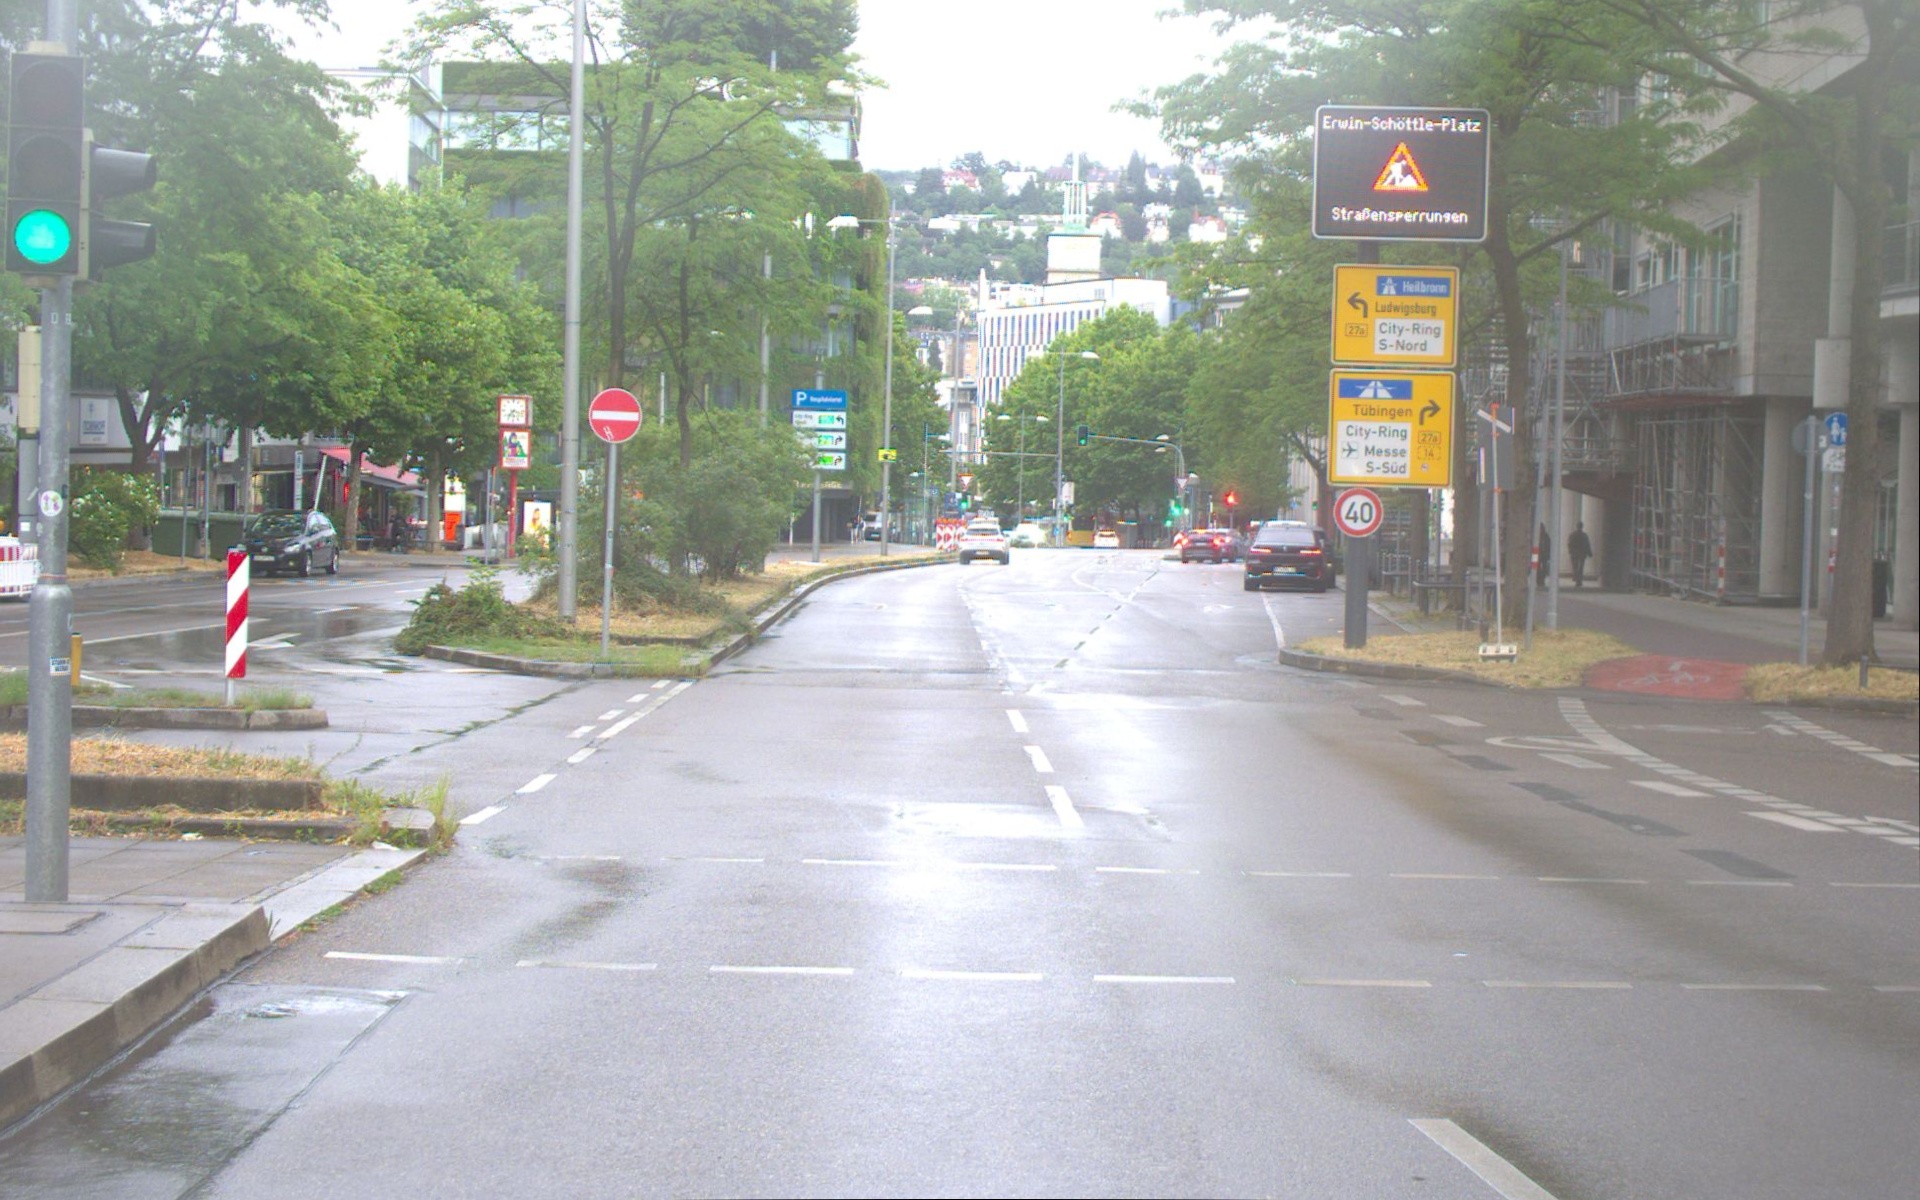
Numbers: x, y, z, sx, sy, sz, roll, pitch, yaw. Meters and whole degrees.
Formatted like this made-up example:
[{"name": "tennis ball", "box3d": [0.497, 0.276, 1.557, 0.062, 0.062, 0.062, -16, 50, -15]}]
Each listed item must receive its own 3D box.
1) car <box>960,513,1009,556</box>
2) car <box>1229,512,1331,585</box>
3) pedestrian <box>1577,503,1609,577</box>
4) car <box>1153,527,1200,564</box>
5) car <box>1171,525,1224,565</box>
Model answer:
[{"name": "car", "box3d": [0.995, -2.621, 138.177, 1.828, 1.634, 4.300, 2, 1, 1]}, {"name": "car", "box3d": [7.771, -1.260, 83.229, 2.339, 1.685, 3.999, 1, 1, 6]}, {"name": "pedestrian", "box3d": [16.642, -1.580, 90.405, 0.775, 1.914, 0.702, 1, 0, 10]}, {"name": "car", "box3d": [10.474, -2.635, 166.611, 1.993, 1.730, 4.000, 1, 0, -1]}, {"name": "car", "box3d": [10.731, -2.461, 155.479, 1.993, 1.718, 4.000, 1, 0, -1]}]
